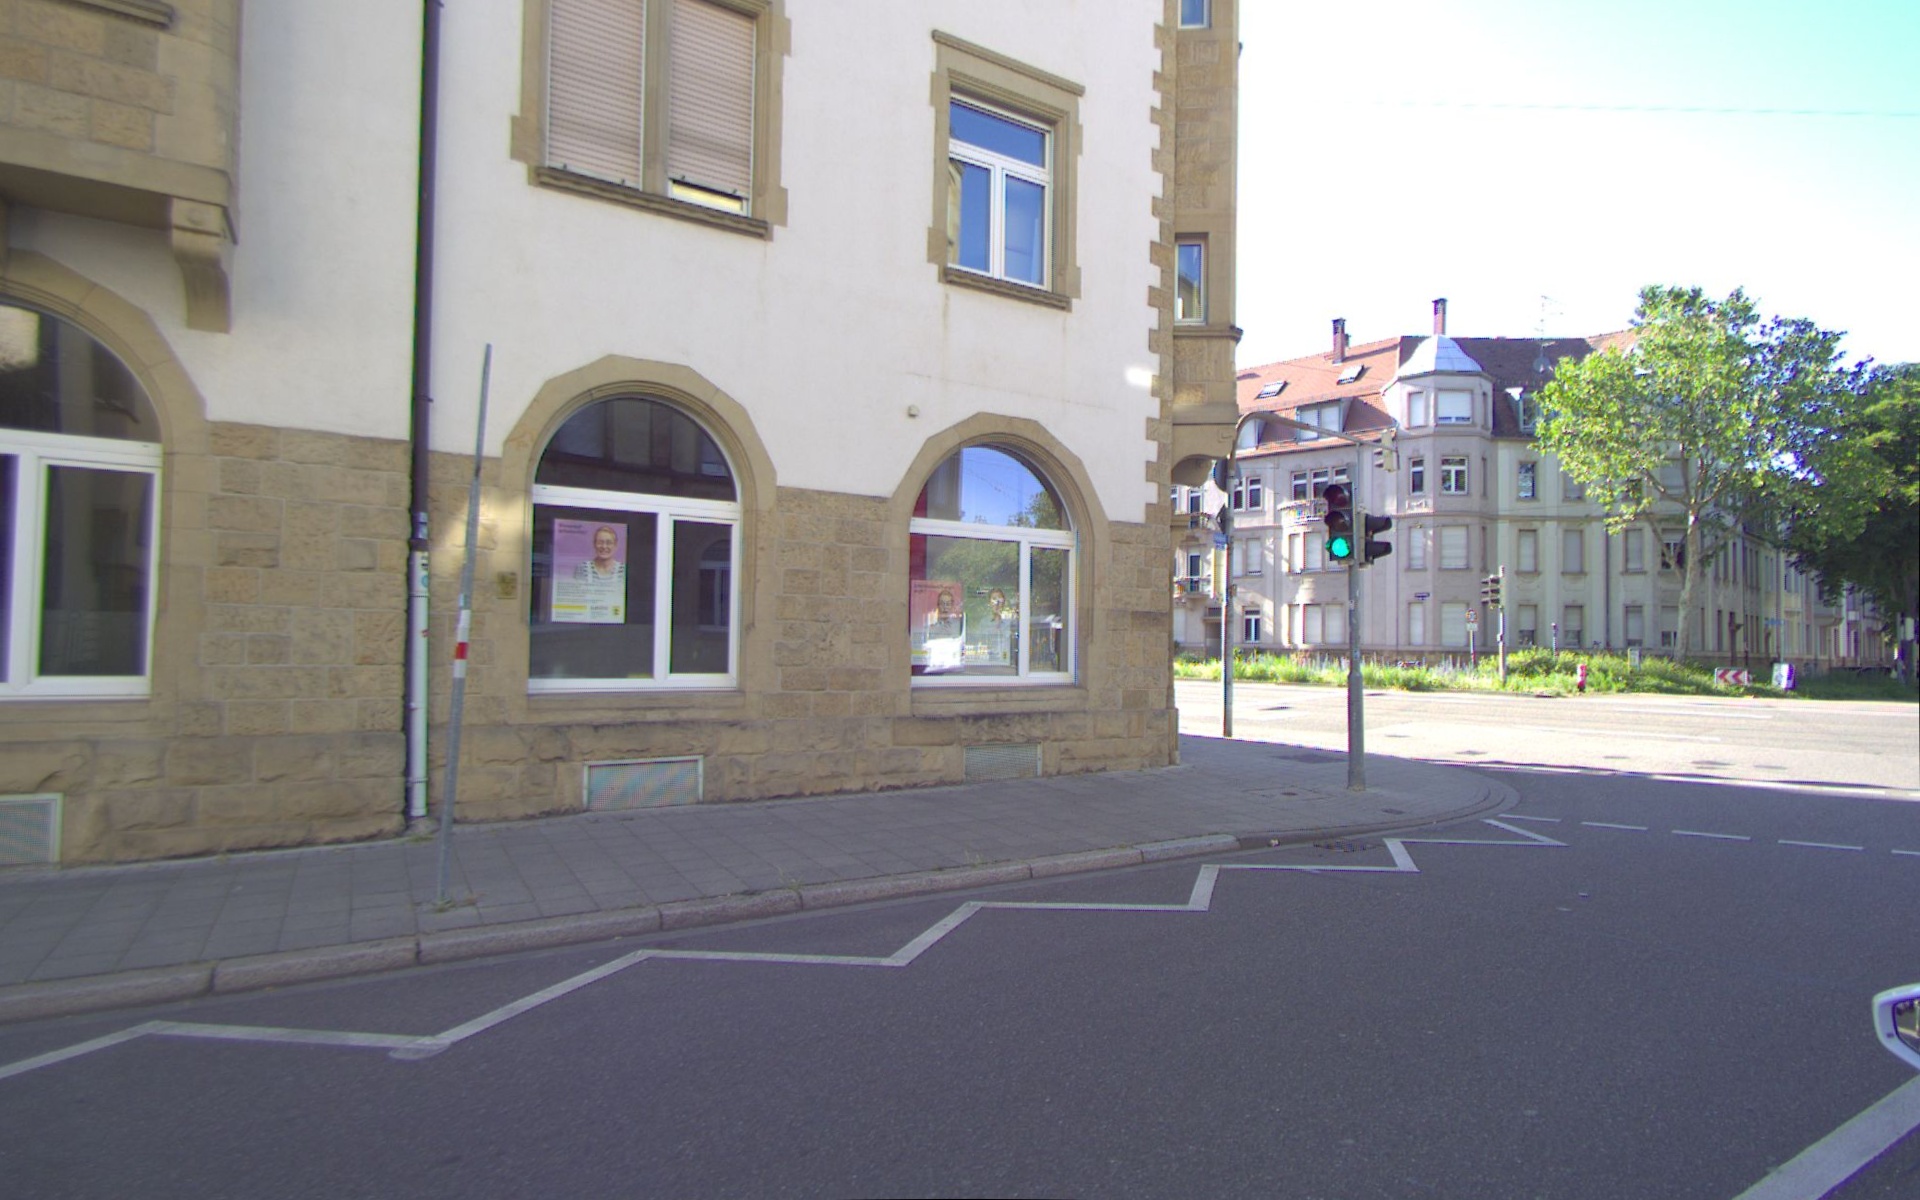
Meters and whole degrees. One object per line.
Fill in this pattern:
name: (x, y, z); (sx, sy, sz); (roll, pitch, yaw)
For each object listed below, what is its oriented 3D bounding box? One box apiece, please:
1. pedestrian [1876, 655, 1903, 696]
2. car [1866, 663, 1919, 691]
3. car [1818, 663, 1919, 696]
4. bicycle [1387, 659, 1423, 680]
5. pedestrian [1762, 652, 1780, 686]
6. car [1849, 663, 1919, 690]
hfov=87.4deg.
pedestrian: (39.209, 3.161, 42.374); (0.672, 1.704, 0.690); (2, -3, -31)
car: (55.916, 4.531, 58.899); (1.771, 1.502, 3.953); (4, -3, -40)
car: (44.023, 3.793, 48.413); (1.604, 1.495, 3.848); (4, -5, -42)
bicycle: (20.188, 3.161, 45.601); (1.419, 0.916, 0.494); (-2, -4, 44)
pedestrian: (40.699, 3.475, 50.434); (0.885, 1.679, 0.457); (3, -3, -34)
car: (52.462, 4.304, 56.012); (1.691, 1.366, 4.174); (5, -4, -42)
